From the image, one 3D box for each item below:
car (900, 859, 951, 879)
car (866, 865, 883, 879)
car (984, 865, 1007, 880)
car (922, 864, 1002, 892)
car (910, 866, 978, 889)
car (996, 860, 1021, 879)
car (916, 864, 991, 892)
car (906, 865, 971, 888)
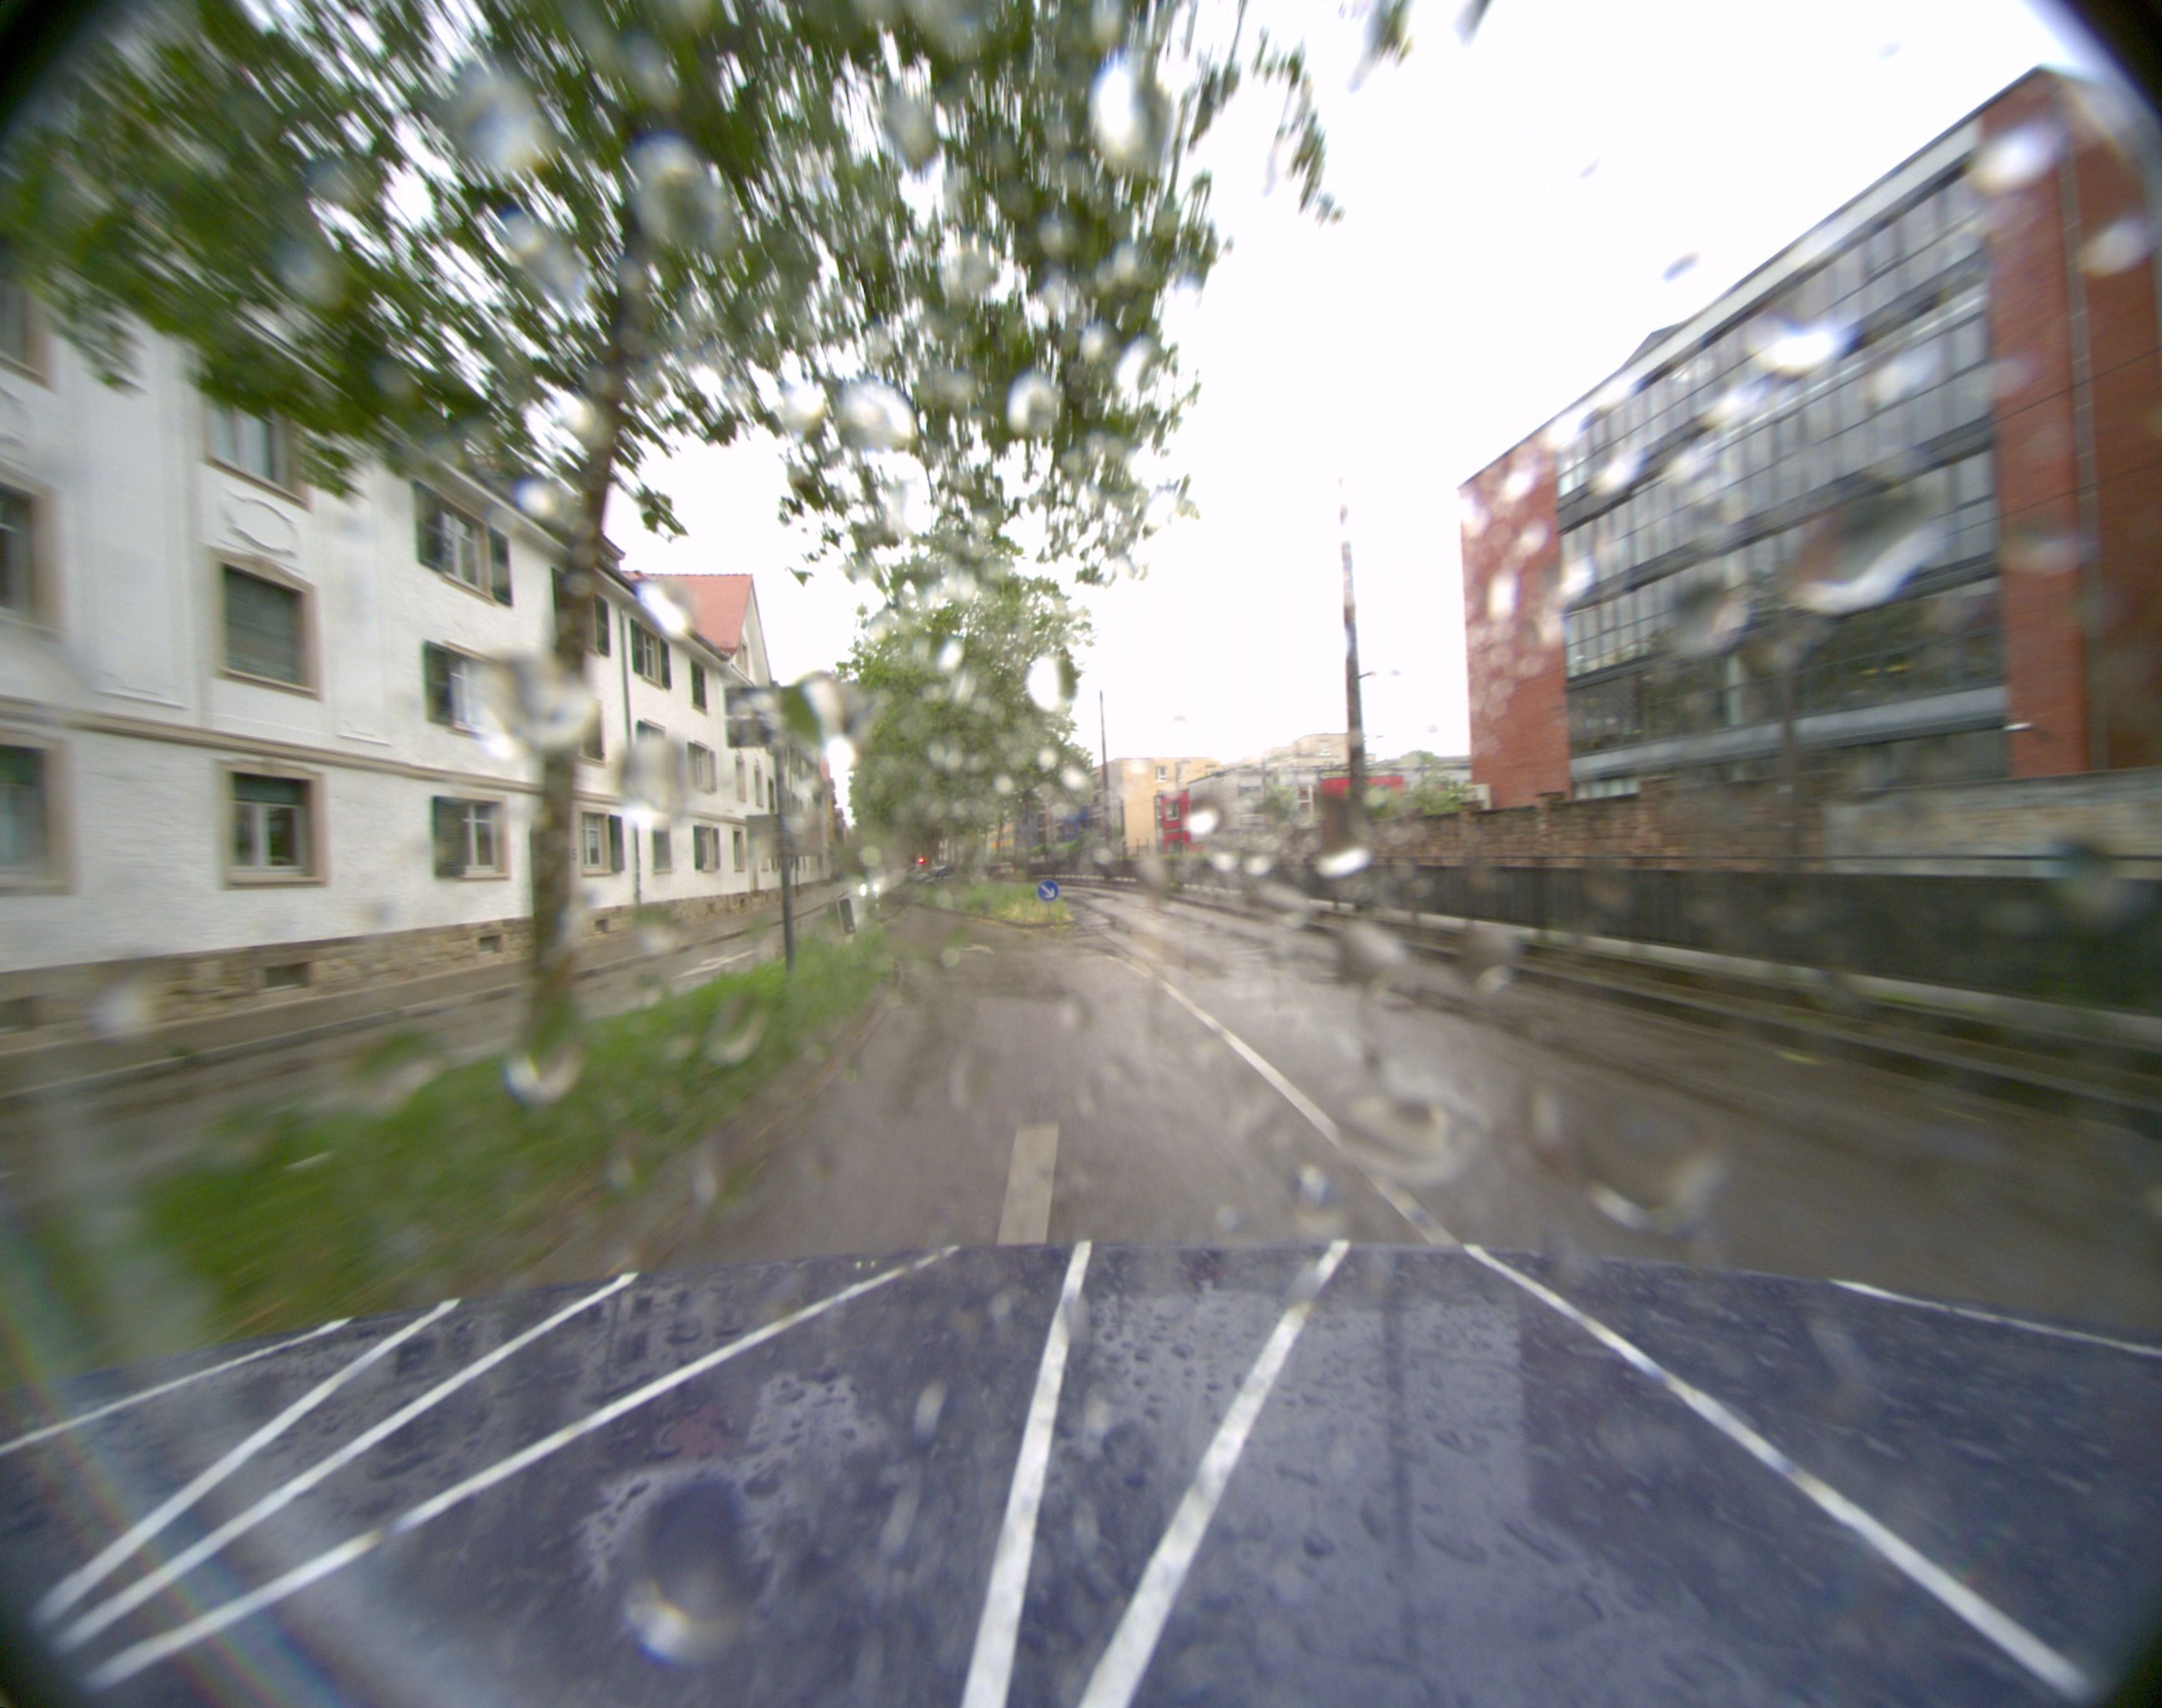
[{"bbox_3d":[-16.581,1.645,81.075,4.883,2.002,2.002,-1,0,15],"label":"car"},{"bbox_3d":[-24.711,2.106,91.004,1.853,1.586,4.211,-2,0,-14],"label":"car"},{"bbox_3d":[-9.023,1.946,80.086,1.694,1.439,3.994,-1,0,-16],"label":"car"},{"bbox_3d":[-7.100,1.426,45.446,4.223,1.532,1.933,-1,0,15],"label":"car"},{"bbox_3d":[-9.620,1.657,53.311,4.325,1.499,1.751,-1,0,17],"label":"car"},{"bbox_3d":[-6.994,1.456,72.614,1.694,1.713,3.686,-1,0,-16],"label":"car"},{"bbox_3d":[-7.954,1.507,47.583,4.223,1.601,1.750,-1,0,15],"label":"car"},{"bbox_3d":[-10.453,1.655,55.998,4.327,1.603,1.750,-1,0,10],"label":"car"}]
